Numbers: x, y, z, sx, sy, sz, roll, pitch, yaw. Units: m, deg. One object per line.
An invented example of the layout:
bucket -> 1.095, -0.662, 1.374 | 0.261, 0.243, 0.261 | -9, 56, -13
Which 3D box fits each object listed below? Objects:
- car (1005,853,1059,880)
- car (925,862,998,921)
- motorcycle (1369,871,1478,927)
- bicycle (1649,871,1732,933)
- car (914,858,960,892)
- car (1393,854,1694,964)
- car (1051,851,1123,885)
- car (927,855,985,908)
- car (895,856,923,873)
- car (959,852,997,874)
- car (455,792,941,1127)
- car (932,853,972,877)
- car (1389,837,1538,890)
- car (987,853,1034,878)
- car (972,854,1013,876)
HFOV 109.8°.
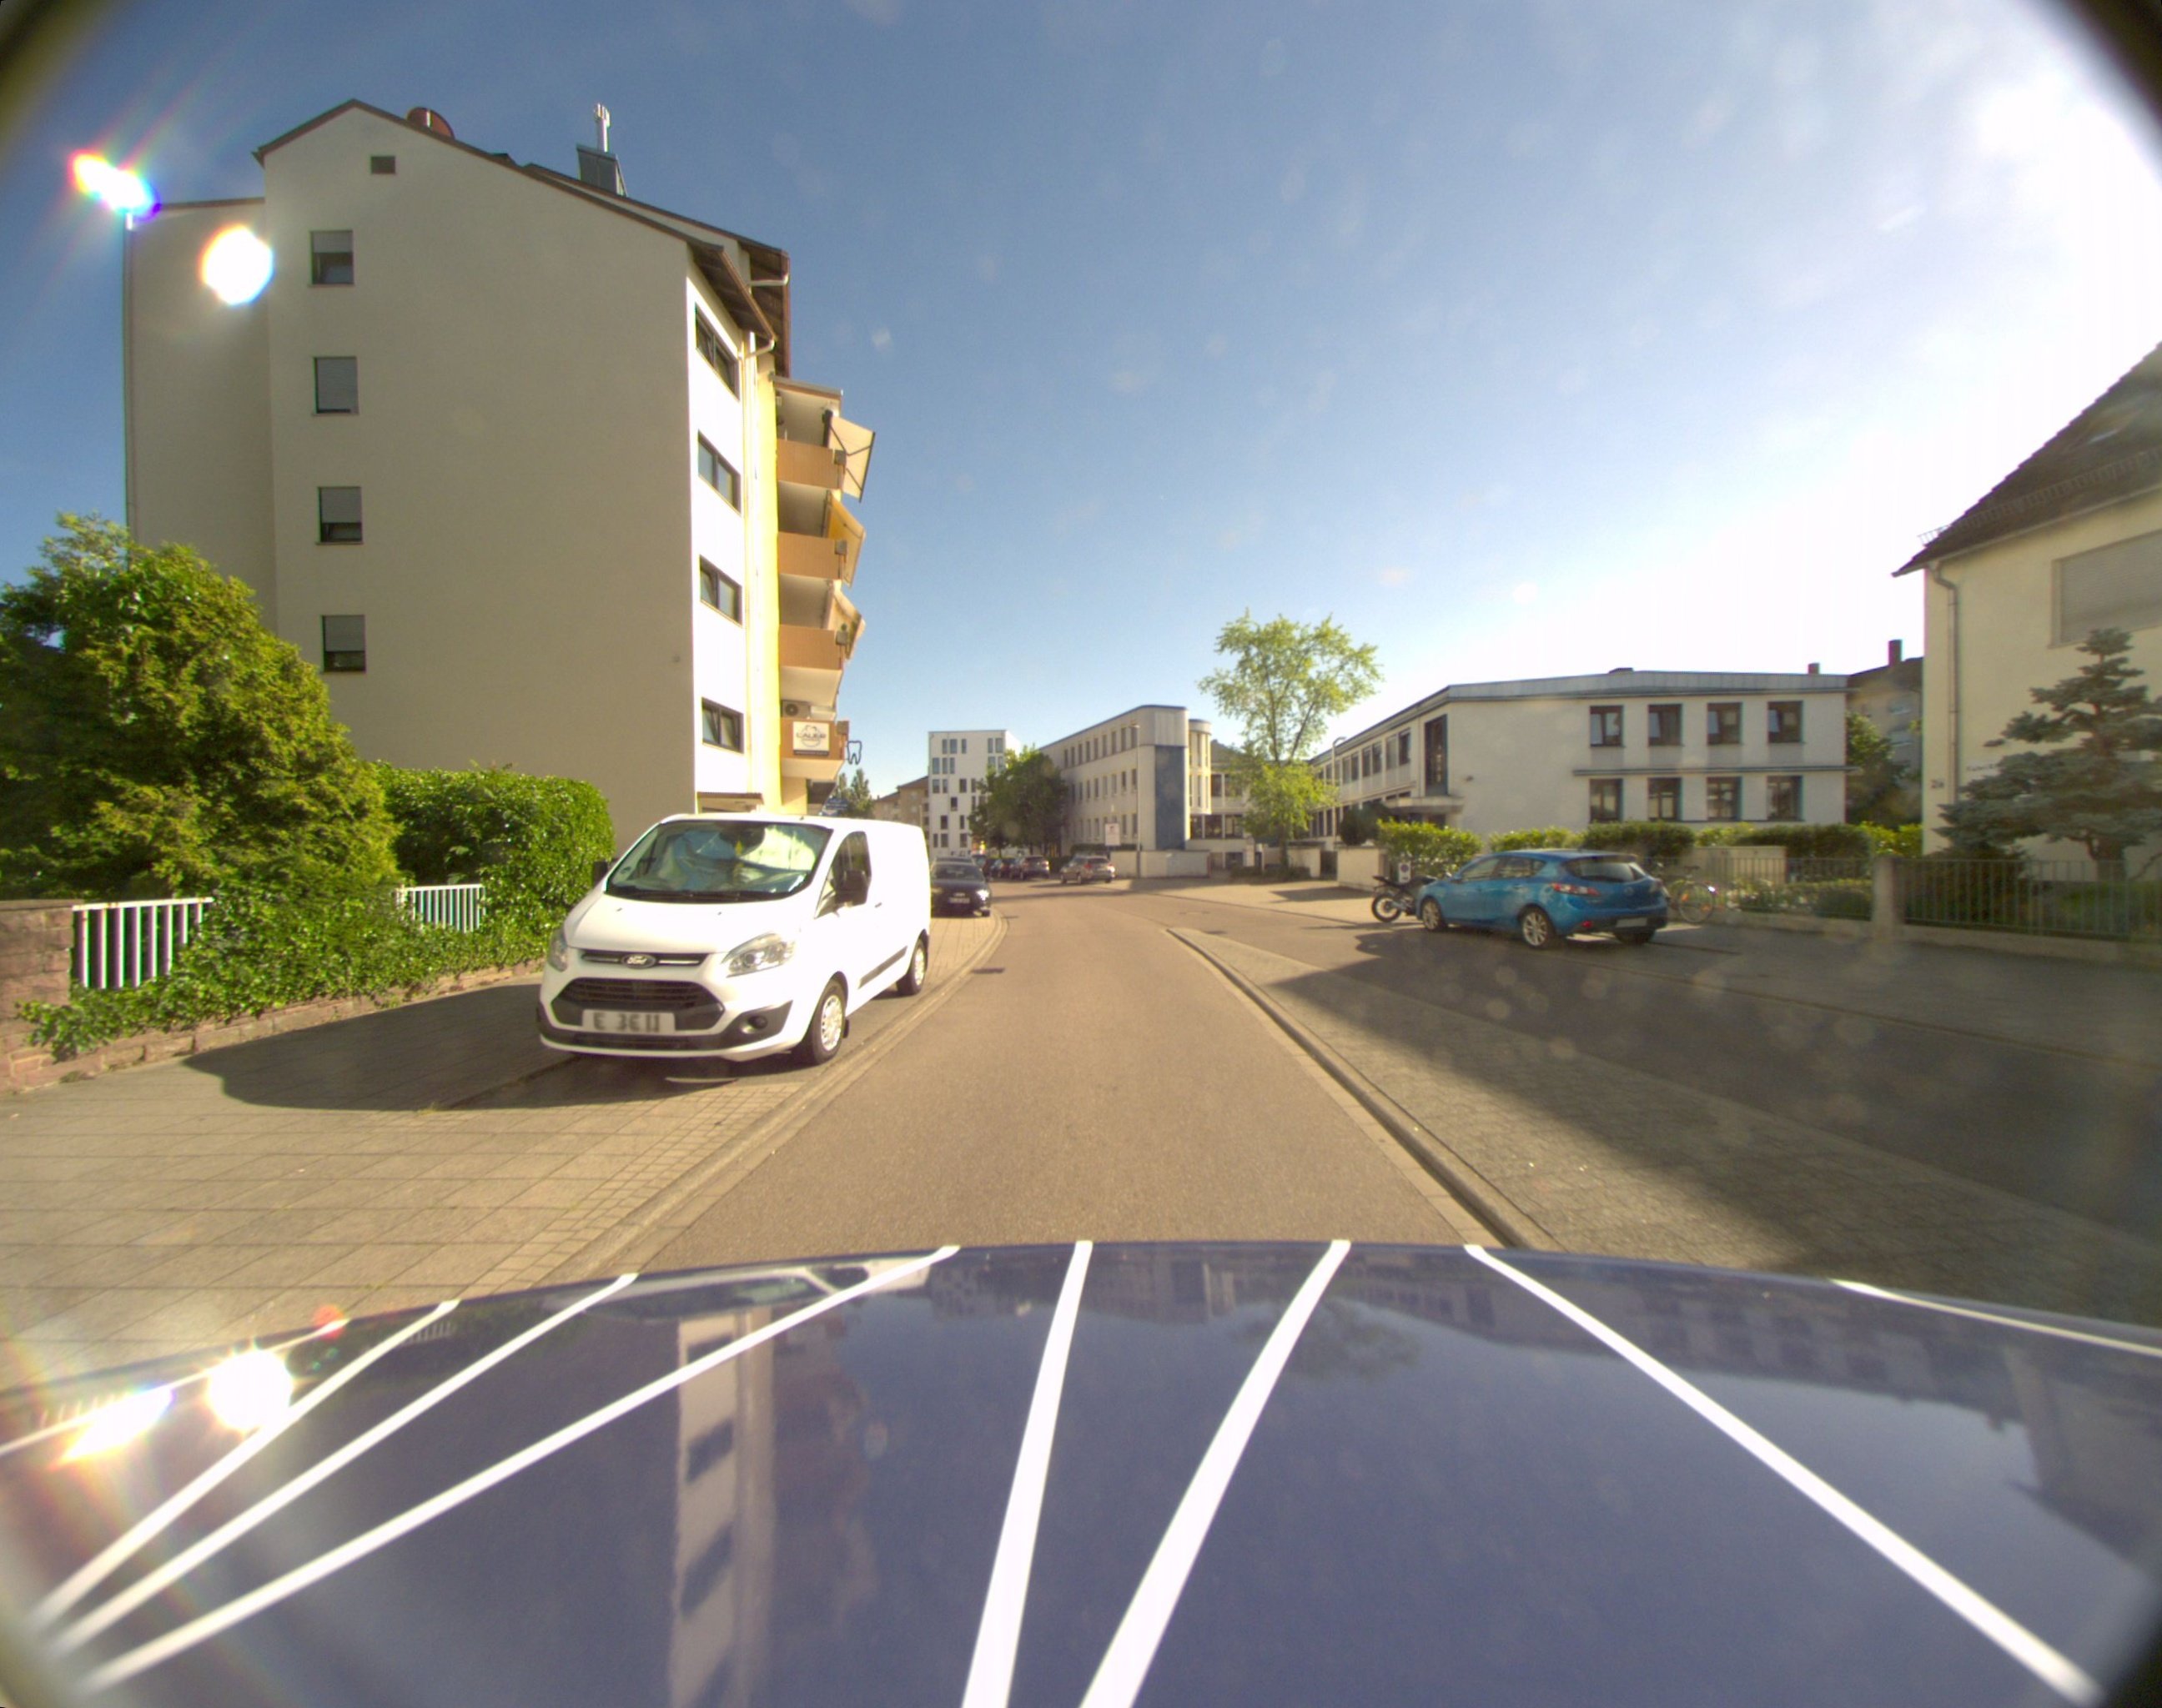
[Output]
car -> -3.297, 0.794, 50.393 | 2.141, 1.604, 4.827 | -3, 1, -21
car -> -3.337, 0.980, 21.176 | 1.759, 1.386, 3.996 | 3, 0, -9
motorcycle -> 6.962, 0.927, 15.522 | 1.959, 1.089, 0.591 | -2, 0, 22
bicycle -> 10.672, 0.820, 13.338 | 0.346, 1.009, 1.262 | 0, 0, -6
car -> -7.067, 0.983, 37.027 | 1.760, 1.445, 3.994 | 3, 0, -16
car -> 7.215, 0.748, 12.521 | 1.885, 1.426, 4.411 | -2, 0, -7
car -> 0.244, 0.716, 41.145 | 2.141, 1.604, 4.826 | -3, 1, -23
car -> -4.284, 0.880, 26.038 | 1.759, 1.604, 3.996 | 3, 0, -10
car -> -18.364, 1.075, 80.991 | 2.141, 1.726, 4.827 | -3, 1, -21
car -> -8.914, 0.755, 65.408 | 2.141, 1.800, 4.827 | -3, 1, -21
car -> -2.827, 0.653, 7.113 | 1.998, 2.002, 4.797 | 2, 0, 1
car -> -10.446, 0.848, 61.398 | 2.141, 1.726, 4.826 | -3, 1, -22
car -> 12.760, 0.312, 25.541 | 3.996, 1.706, 2.000 | 0, 0, 2
car -> -5.211, 0.814, 55.497 | 2.141, 1.604, 4.827 | -3, 1, -21
car -> -7.143, 0.833, 60.741 | 2.141, 1.604, 4.453 | -3, 1, -21
